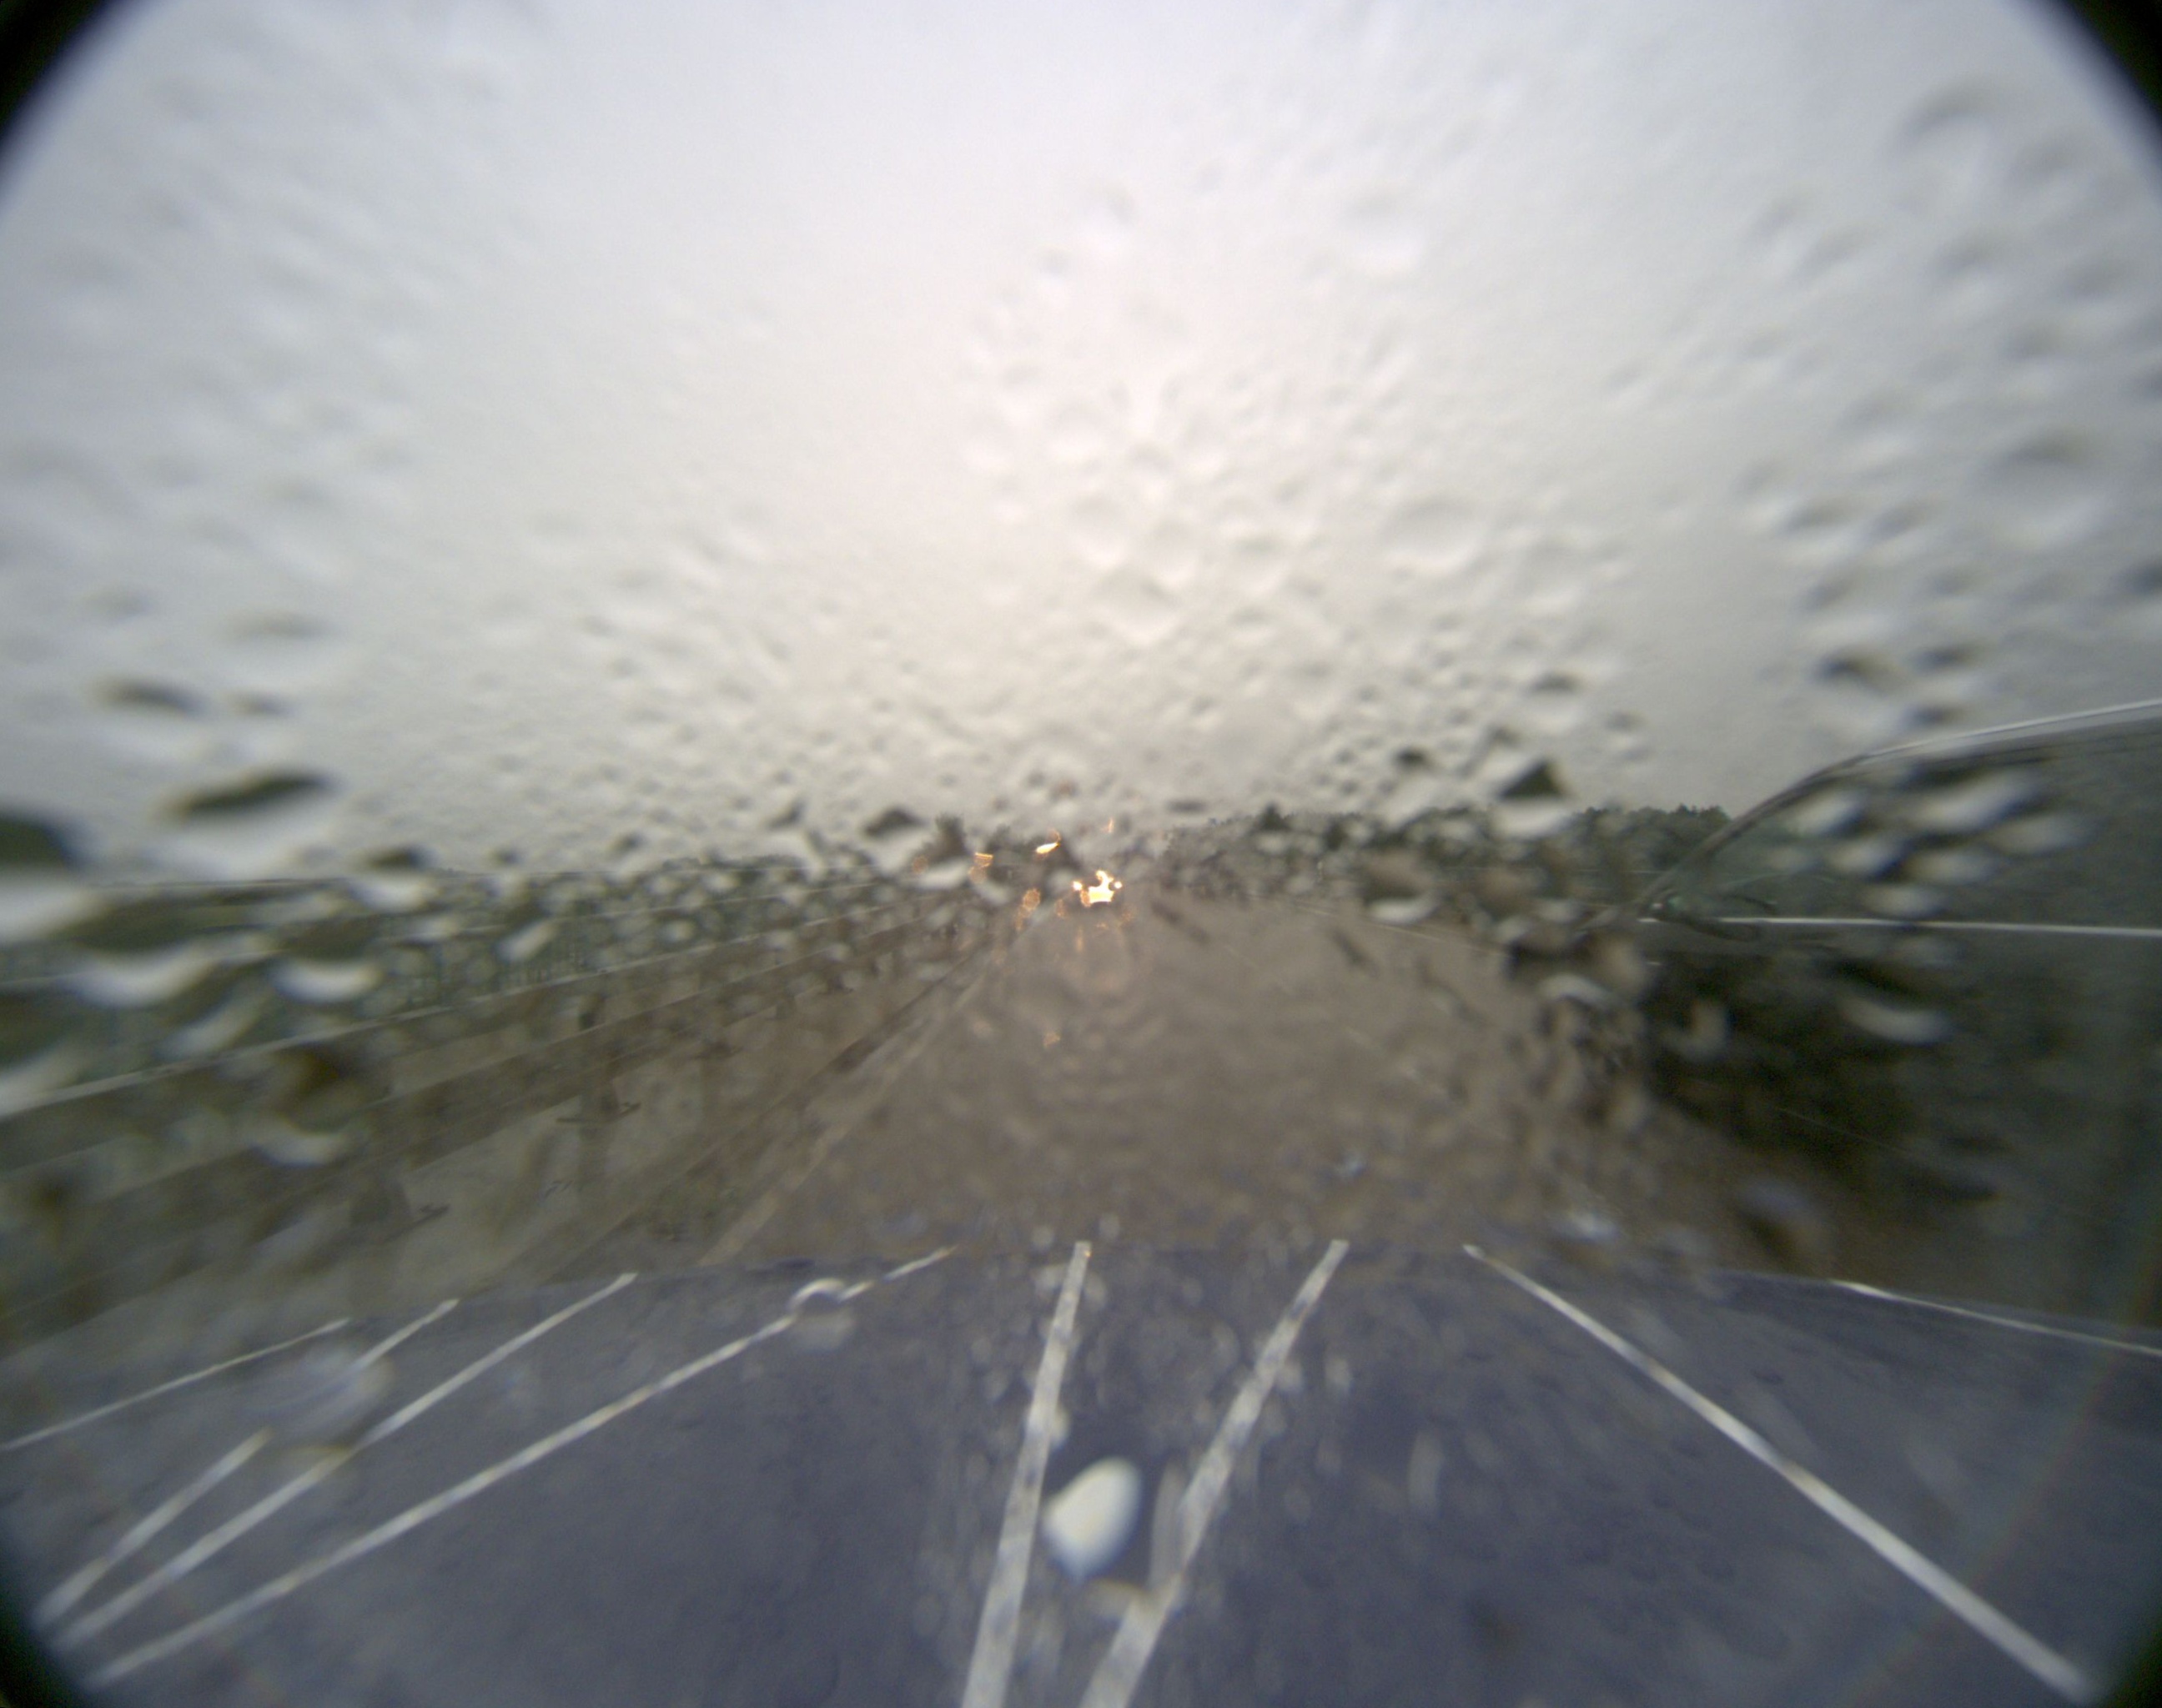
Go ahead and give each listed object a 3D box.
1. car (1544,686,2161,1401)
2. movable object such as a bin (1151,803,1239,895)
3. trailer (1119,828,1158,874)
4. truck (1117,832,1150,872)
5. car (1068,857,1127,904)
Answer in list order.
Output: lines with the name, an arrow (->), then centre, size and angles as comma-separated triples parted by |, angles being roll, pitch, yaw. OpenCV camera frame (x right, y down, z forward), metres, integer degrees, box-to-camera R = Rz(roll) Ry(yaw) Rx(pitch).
car -> 3.803, 0.470, 2.213 | 2.071, 1.826, 4.932 | -1, 0, 3
movable object such as a bin -> 4.550, -0.196, 31.134 | 2.756, 3.425, 4.642 | -1, 0, -1
trailer -> 5.336, -0.197, 72.995 | 2.825, 3.946, 13.737 | -2, 0, 1
truck -> 5.427, -0.165, 79.438 | 2.825, 3.946, 8.764 | -2, 0, 1
car -> 0.583, 0.858, 26.338 | 1.819, 1.382, 4.069 | -3, 0, 1
